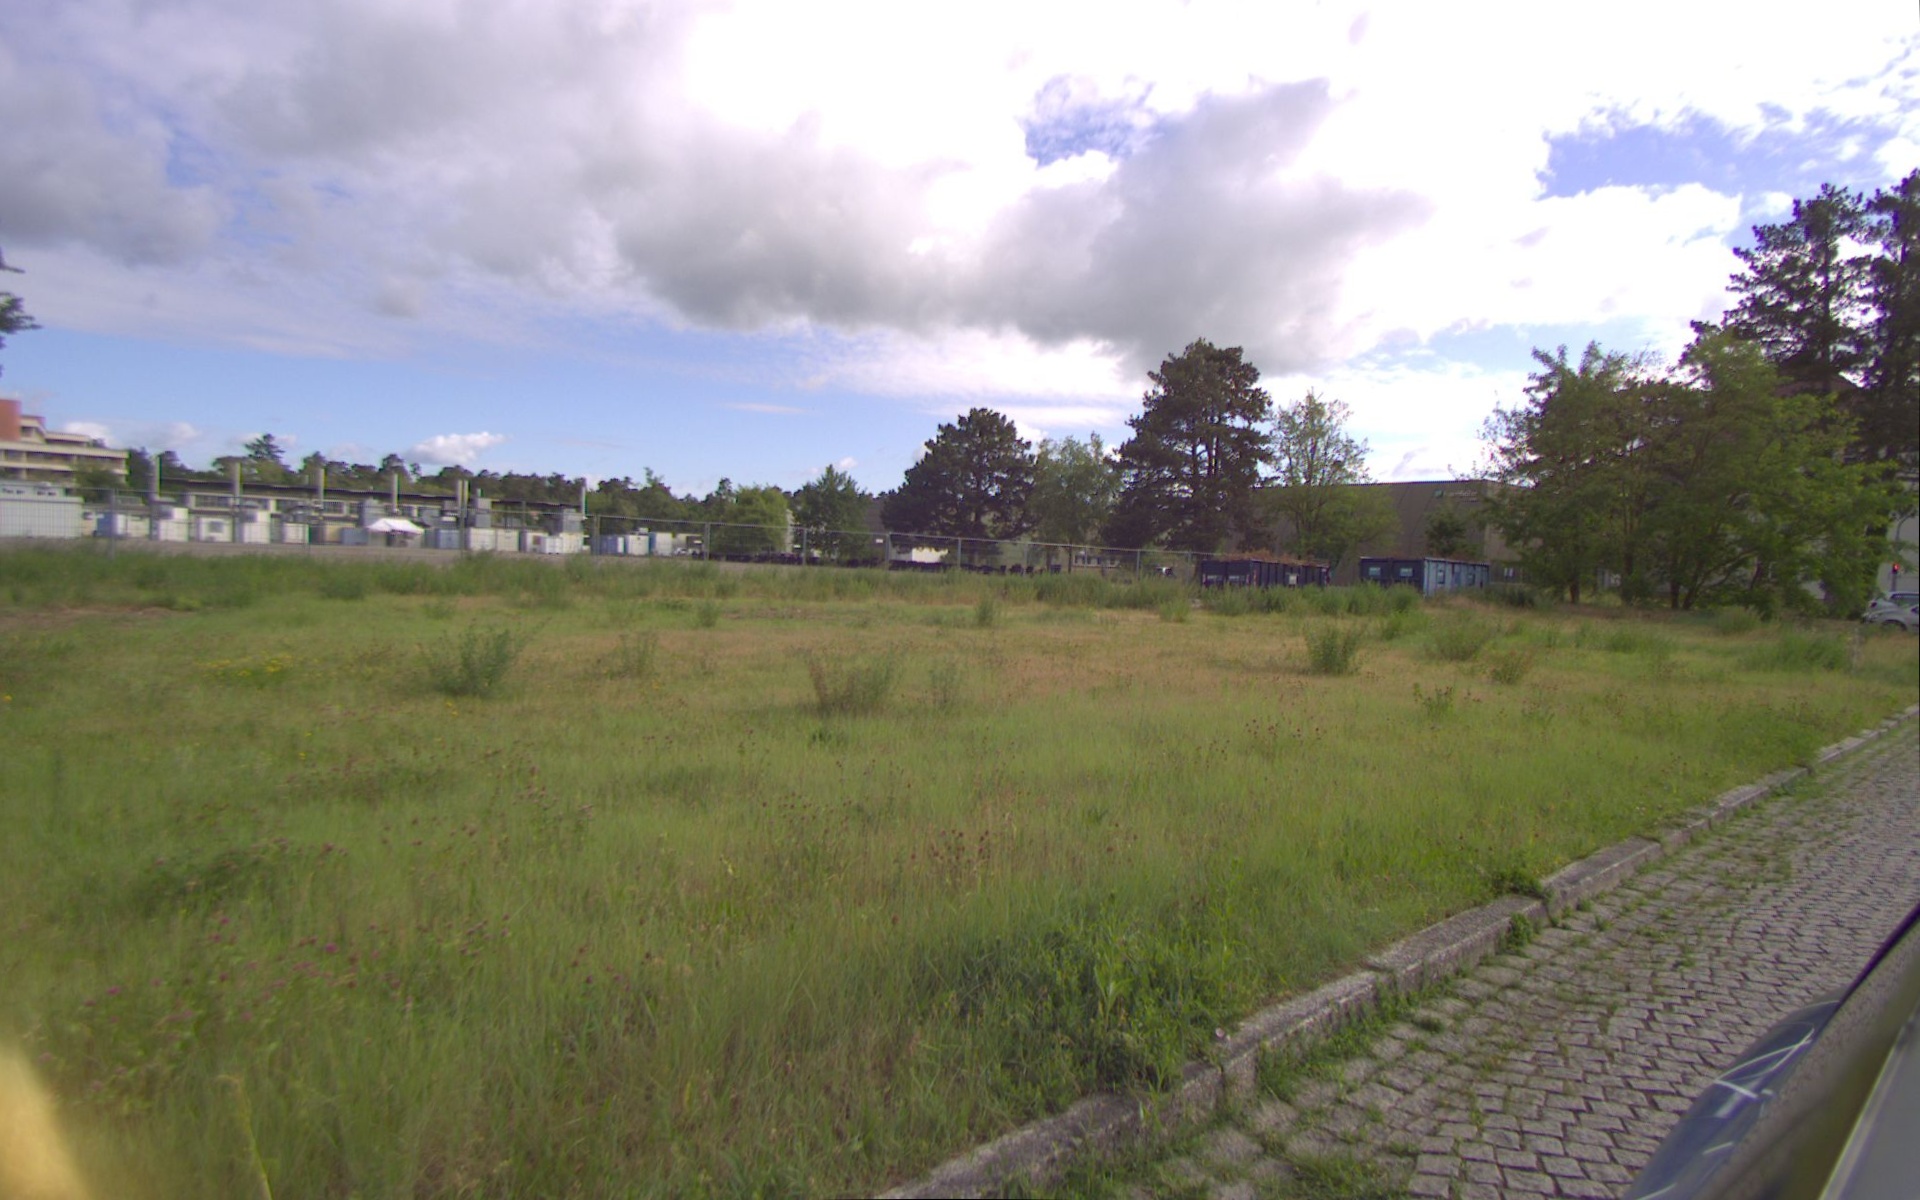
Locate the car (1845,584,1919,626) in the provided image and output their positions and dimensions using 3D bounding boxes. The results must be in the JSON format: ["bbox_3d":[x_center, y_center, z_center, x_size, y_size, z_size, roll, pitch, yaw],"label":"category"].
[{"bbox_3d":[34.443,0.169,36.553,3.718,1.455,1.602,2,2,43],"label":"car"}]

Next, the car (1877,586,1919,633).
[{"bbox_3d":[31.502,0.310,31.904,1.600,1.455,3.723,-1,2,-43],"label":"car"}]
